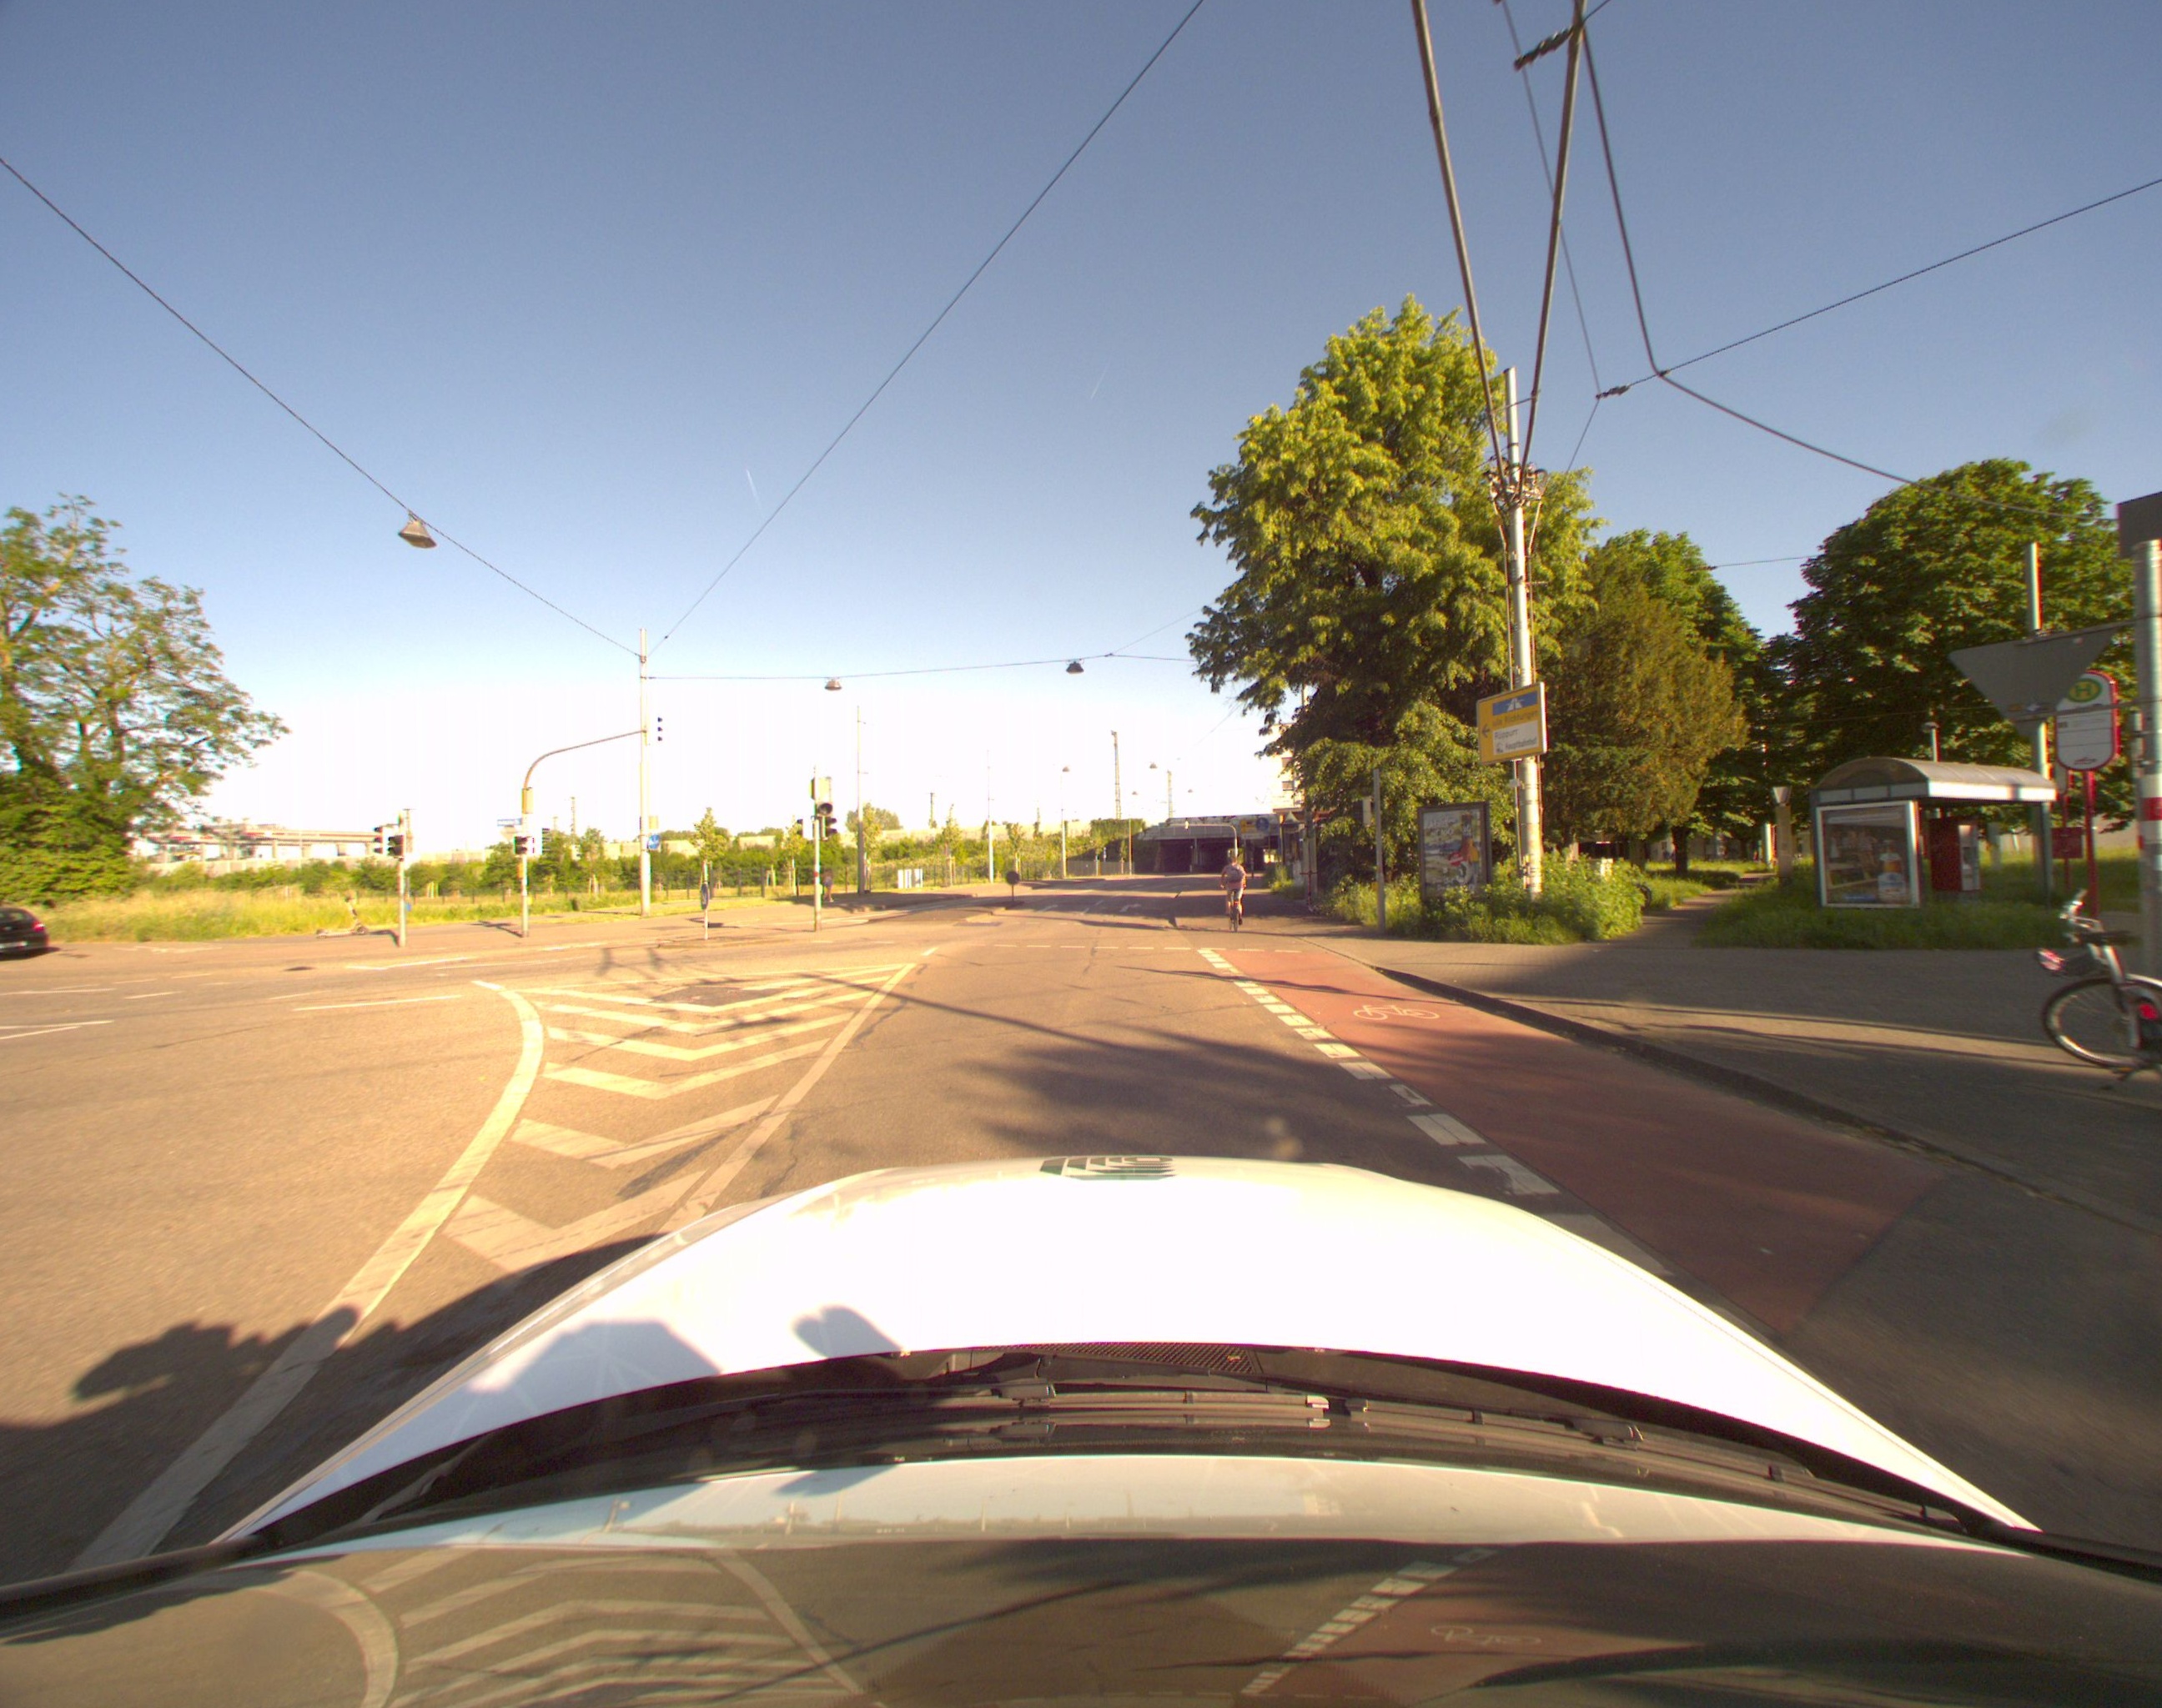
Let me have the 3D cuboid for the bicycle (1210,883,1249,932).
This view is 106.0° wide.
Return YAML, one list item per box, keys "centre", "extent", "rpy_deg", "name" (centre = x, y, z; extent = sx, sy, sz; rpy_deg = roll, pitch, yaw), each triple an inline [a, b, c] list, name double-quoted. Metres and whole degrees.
- centre: [3.689, 1.305, 20.374]
  extent: [0.664, 1.059, 2.084]
  rpy_deg: [-2, 0, 3]
  name: "bicycle"

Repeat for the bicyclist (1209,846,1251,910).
- centre: [3.707, 0.579, 20.402]
  extent: [0.836, 1.510, 1.370]
  rpy_deg: [-2, -1, 4]
  name: "bicyclist"

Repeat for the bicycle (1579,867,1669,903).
- centre: [14.424, 0.819, 21.658]
  extent: [0.663, 0.906, 1.860]
  rpy_deg: [-1, -1, -44]
  name: "bicycle"

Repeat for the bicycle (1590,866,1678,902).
- centre: [15.051, 0.816, 22.212]
  extent: [0.663, 0.906, 1.860]
  rpy_deg: [-1, -1, -44]
  name: "bicycle"

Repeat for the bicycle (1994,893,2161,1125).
- centre: [6.106, 0.811, 4.728]
  extent: [0.817, 1.059, 1.894]
  rpy_deg: [-3, -1, 41]
  name: "bicycle"

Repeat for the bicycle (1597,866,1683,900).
- centre: [15.718, 0.814, 22.930]
  extent: [0.663, 0.906, 1.860]
  rpy_deg: [-1, -1, -44]
  name: "bicycle"

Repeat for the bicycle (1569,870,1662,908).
- centre: [13.696, 0.883, 20.910]
  extent: [0.663, 0.906, 1.860]
  rpy_deg: [-1, -1, -44]
  name: "bicycle"

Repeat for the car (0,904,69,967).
- centre: [-29.514, 2.206, 21.435]
  extent: [3.959, 1.419, 1.902]
  rpy_deg: [-2, 6, 13]
  name: "car"

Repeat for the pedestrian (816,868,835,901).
- centre: [-12.271, 1.461, 39.166]
  extent: [0.595, 1.596, 0.687]
  rpy_deg: [-1, -1, 14]
  name: "pedestrian"

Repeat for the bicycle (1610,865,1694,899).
- centre: [16.443, 0.810, 23.486]
  extent: [0.663, 0.906, 1.860]
  rpy_deg: [-1, -1, -44]
  name: "bicycle"
